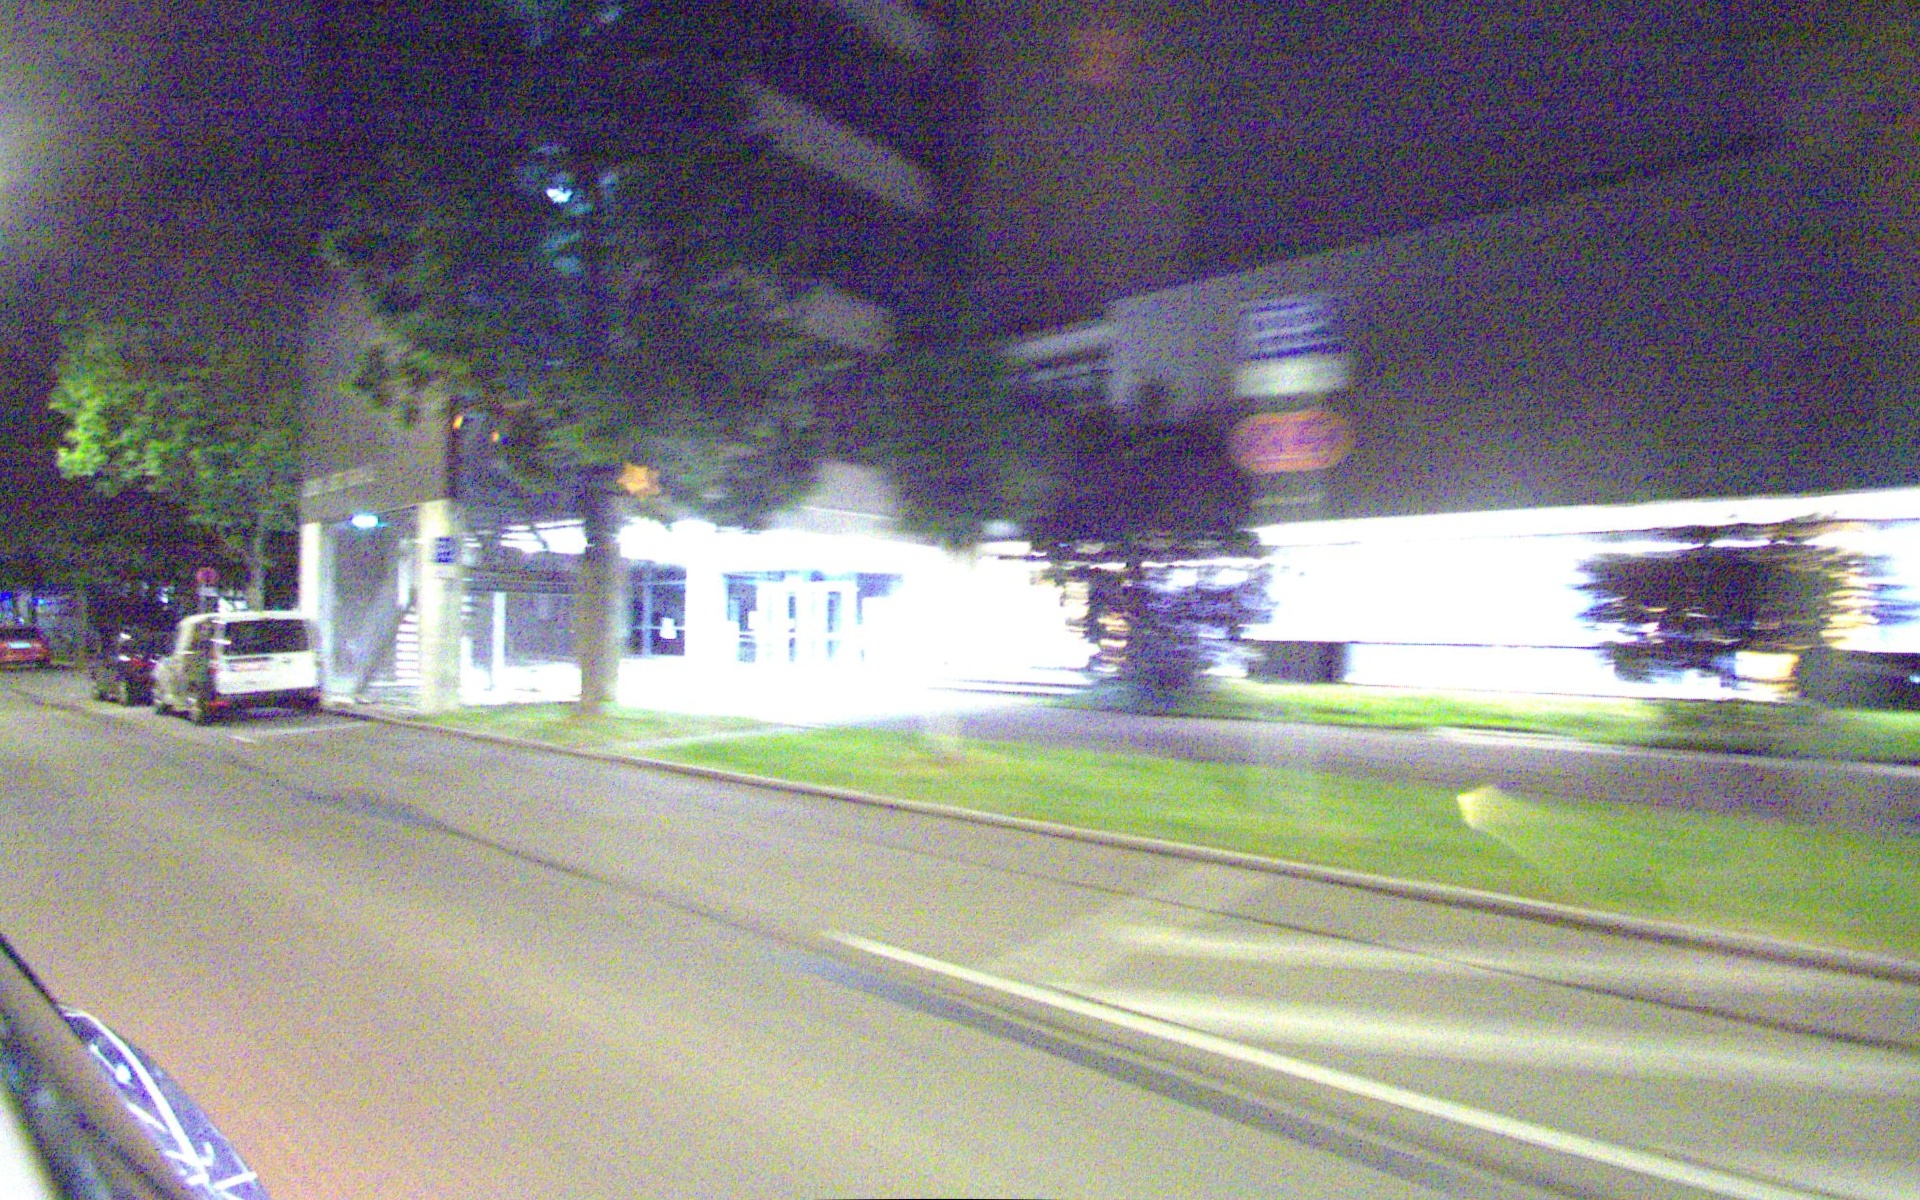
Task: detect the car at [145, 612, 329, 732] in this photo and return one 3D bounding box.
[{"bbox_3d":[-12.860,1.178,17.905,4.209,1.825,1.803,-2,0,42],"label":"car"}]

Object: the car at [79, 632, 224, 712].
[{"bbox_3d":[-17.280,1.459,21.577,3.825,1.444,1.683,-2,2,40],"label":"car"}]

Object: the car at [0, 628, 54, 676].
[{"bbox_3d":[-33.749,1.827,36.045,4.072,1.611,1.803,-2,-2,42],"label":"car"}]
